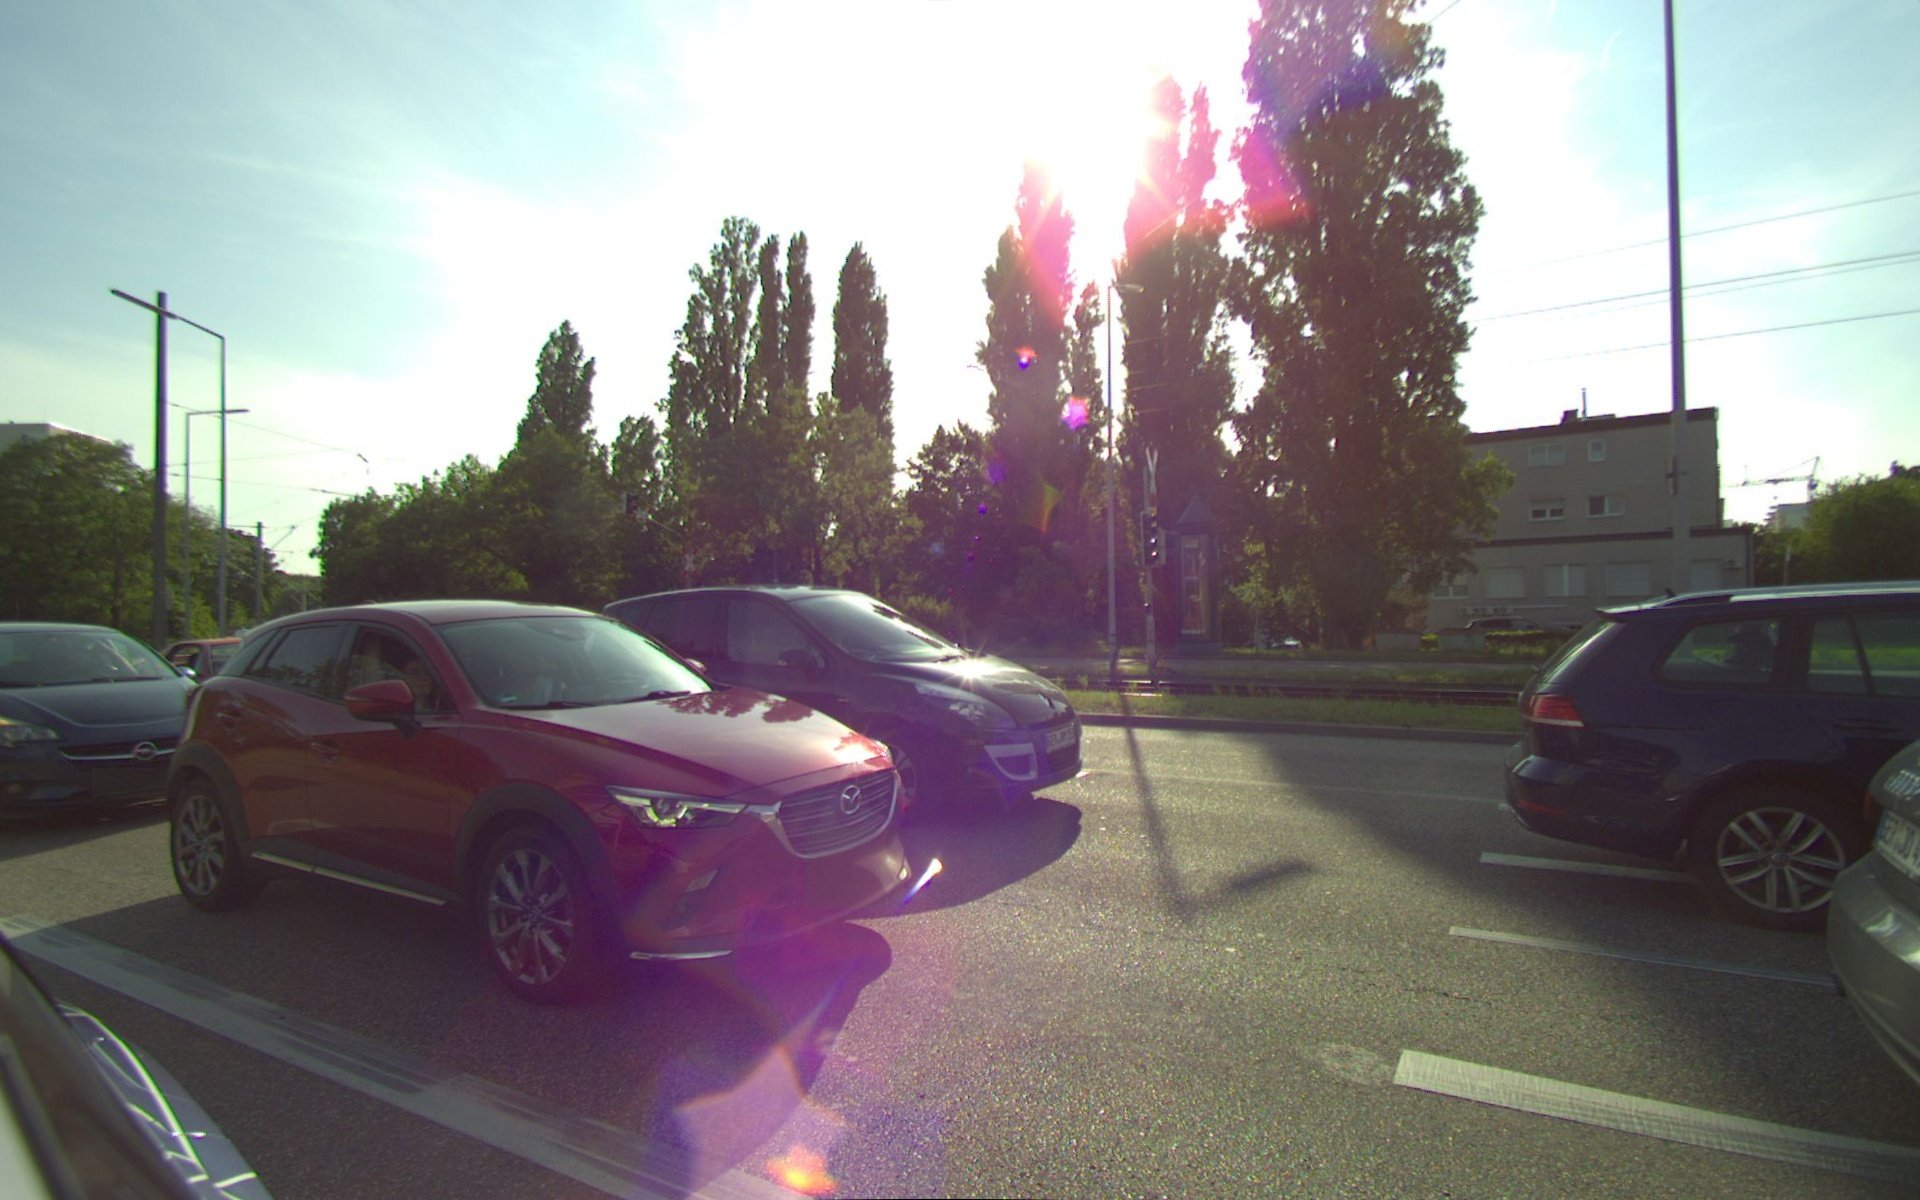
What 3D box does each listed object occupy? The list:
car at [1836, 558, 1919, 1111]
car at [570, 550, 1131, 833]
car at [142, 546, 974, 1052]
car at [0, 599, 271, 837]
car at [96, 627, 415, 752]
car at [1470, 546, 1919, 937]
[{"bbox_3d":[4.019,0.553,1.526,3.815,1.408,1.629,-2,-2,32],"label":"car"},{"bbox_3d":[-0.927,0.597,7.818,4.068,1.683,1.751,-2,-1,30],"label":"car"},{"bbox_3d":[-2.070,0.673,4.900,3.963,1.563,1.694,-2,-2,31],"label":"car"},{"bbox_3d":[-7.606,0.821,8.179,4.205,1.517,1.730,-2,-1,30],"label":"car"},{"bbox_3d":[-8.517,0.996,12.177,3.832,1.215,1.719,-2,0,31],"label":"car"},{"bbox_3d":[4.782,0.526,4.254,4.540,1.519,1.686,-2,-1,33],"label":"car"}]
